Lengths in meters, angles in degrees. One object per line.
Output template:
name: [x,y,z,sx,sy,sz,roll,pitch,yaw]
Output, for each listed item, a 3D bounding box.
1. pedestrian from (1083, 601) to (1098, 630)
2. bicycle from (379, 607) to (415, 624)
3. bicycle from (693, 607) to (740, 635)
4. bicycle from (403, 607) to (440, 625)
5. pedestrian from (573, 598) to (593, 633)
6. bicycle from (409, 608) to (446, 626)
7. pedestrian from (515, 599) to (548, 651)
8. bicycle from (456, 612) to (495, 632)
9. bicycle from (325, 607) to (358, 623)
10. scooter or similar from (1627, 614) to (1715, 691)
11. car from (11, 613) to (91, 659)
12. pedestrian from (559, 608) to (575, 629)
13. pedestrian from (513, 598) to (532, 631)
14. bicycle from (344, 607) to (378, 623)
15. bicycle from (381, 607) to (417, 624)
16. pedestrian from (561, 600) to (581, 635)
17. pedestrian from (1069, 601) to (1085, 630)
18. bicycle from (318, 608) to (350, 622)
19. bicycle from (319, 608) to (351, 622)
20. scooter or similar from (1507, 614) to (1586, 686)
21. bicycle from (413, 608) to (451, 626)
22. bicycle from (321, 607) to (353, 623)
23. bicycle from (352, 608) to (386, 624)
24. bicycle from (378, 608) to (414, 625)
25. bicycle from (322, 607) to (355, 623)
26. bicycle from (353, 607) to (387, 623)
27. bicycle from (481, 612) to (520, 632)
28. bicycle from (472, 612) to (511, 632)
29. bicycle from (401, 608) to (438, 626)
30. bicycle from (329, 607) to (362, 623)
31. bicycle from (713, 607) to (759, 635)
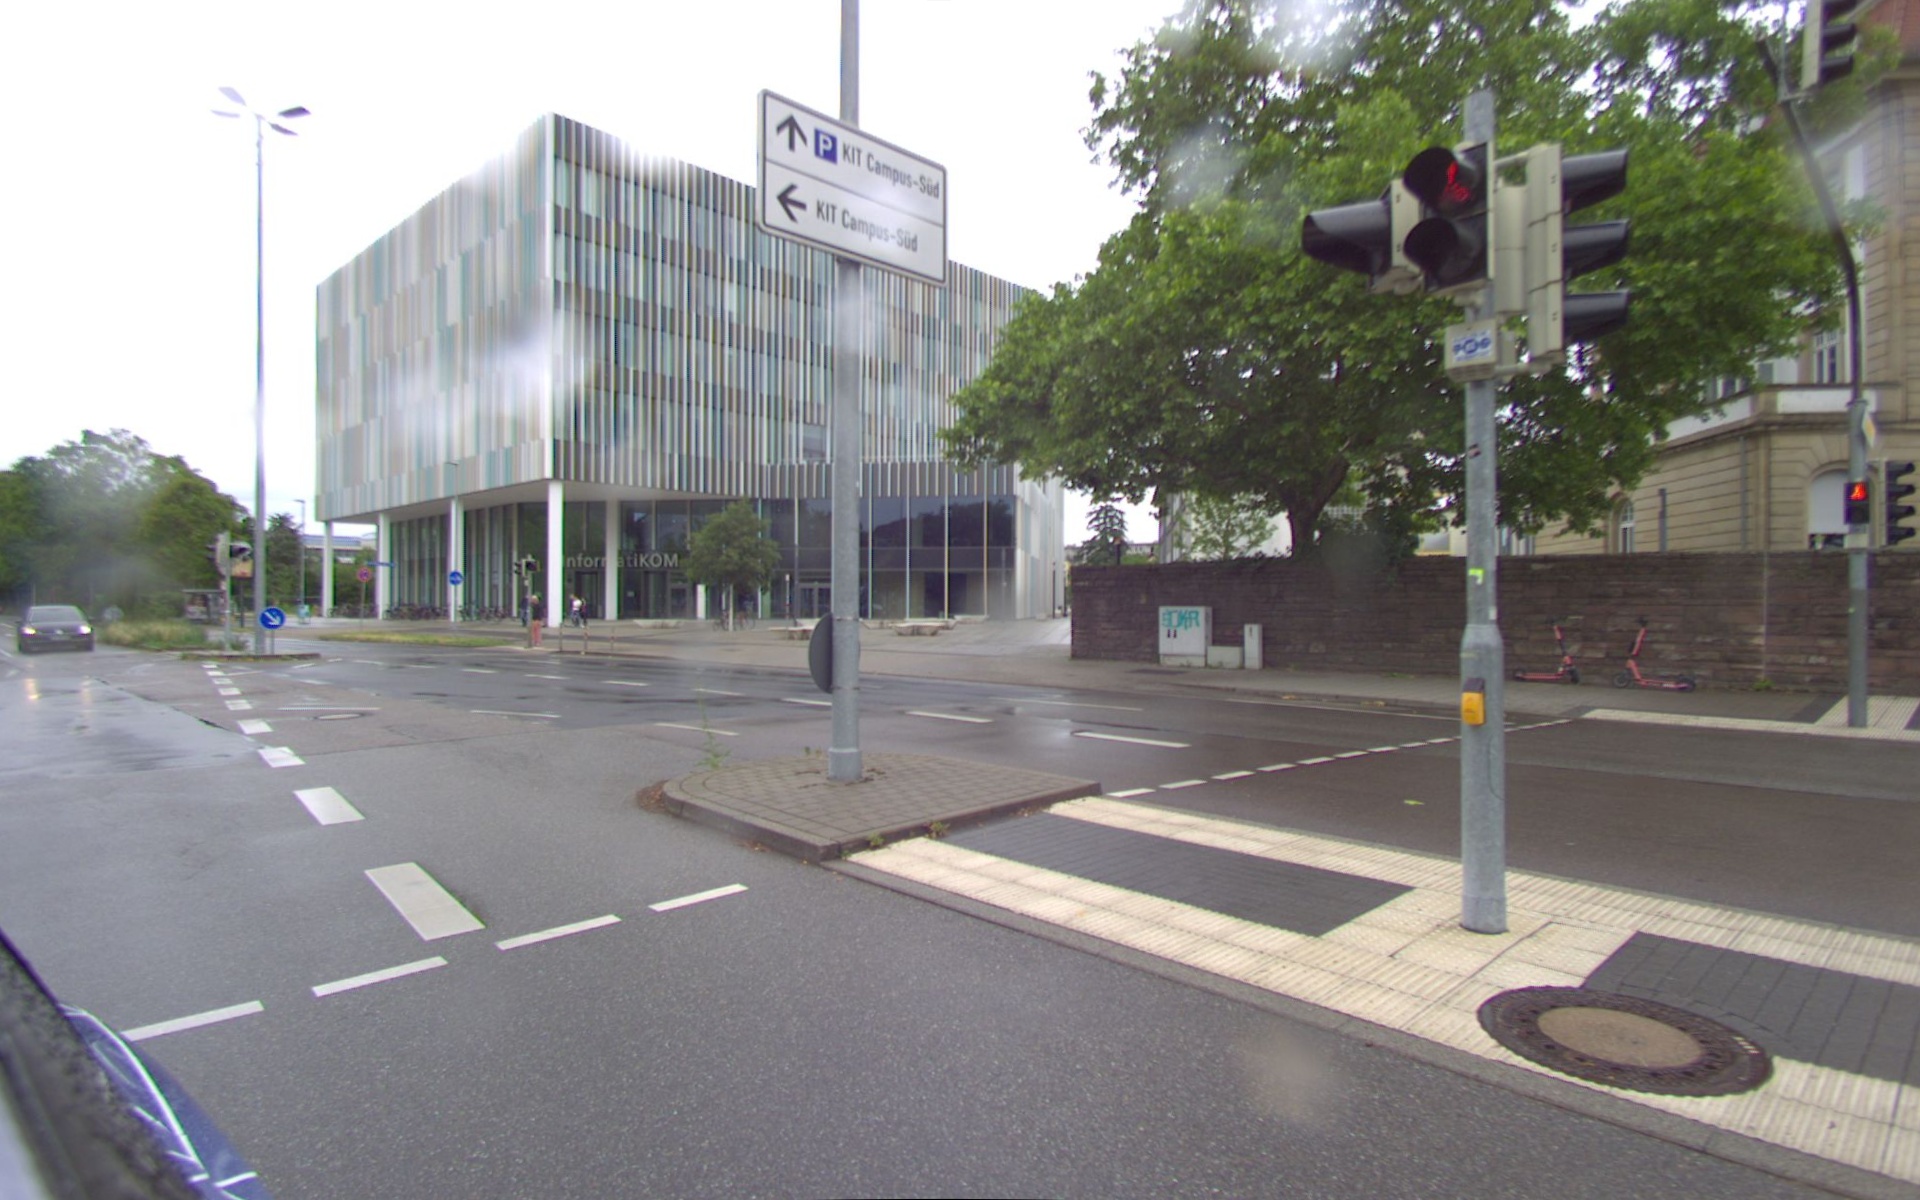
pedestrian: [9.023,1.056,69.985,0.898,2.029,0.840,0,-1,18]
bicycle: [-40.856,1.129,73.492,2.248,1.231,0.600,0,-1,-35]
bicycle: [-10.988,0.948,45.747,0.597,1.231,2.260,-1,-1,33]
bicycle: [-37.797,1.103,71.058,2.248,1.231,0.600,0,-1,-35]
pedestrian: [-19.901,0.835,53.426,0.620,1.838,0.781,0,-1,22]
bicycle: [-37.015,1.183,70.374,2.248,1.231,0.600,0,-1,-35]
pedestrian: [-15.451,0.886,36.512,0.791,1.838,0.781,0,-1,23]
bicycle: [-30.905,1.378,64.531,0.597,1.231,2.260,-1,-1,33]
bicycle: [-49.772,1.213,81.495,2.248,1.231,0.600,0,-1,-35]
scooter or similar: [11.747,0.849,16.732,1.141,1.206,0.387,0,6,40]
car: [-29.083,1.109,32.334,4.108,1.375,1.638,-1,-1,44]
pedestrian: [-22.001,1.029,56.681,0.615,1.161,0.788,0,-1,-42]
pedestrian: [-24.038,0.792,55.549,0.908,1.838,0.942,0,-1,-26]
bicycle: [-47.466,1.199,80.240,2.248,1.231,0.600,0,-1,-35]
bicycle: [-40.370,1.122,72.809,2.248,1.231,0.600,0,-1,-35]
pedestrian: [-20.788,0.940,54.066,0.620,1.838,0.781,0,-1,22]
pedestrian: [8.142,1.081,70.431,0.898,2.029,0.840,0,-1,18]
bicycle: [-52.371,1.246,84.723,2.248,1.231,0.600,0,-1,-35]
bicycle: [-52.765,1.253,85.395,2.248,1.231,0.600,0,-1,-35]
scooter or similar: [10.398,0.869,17.964,1.141,1.206,0.387,0,6,41]
bicycle: [-36.274,1.170,69.577,2.248,1.231,0.600,0,-1,-35]
bicycle: [-51.370,1.233,83.438,2.248,1.231,0.600,0,-1,-35]
bicycle: [-46.037,1.219,78.820,2.248,1.231,0.600,0,-1,-35]
bicycle: [-41.351,1.205,74.211,2.248,1.231,0.600,0,-1,-35]
bicycle: [-50.539,1.221,82.301,2.248,1.231,0.600,0,-1,-35]
bicycle: [-46.297,1.202,79.471,2.248,1.231,0.600,0,-1,-35]
bicycle: [-28.891,1.368,63.687,0.597,1.231,2.260,-1,-1,33]
bicycle: [-29.553,1.371,63.895,0.597,1.231,2.260,-1,-1,33]
bicycle: [-38.325,1.180,71.824,2.248,1.231,0.600,0,-1,-35]
bicycle: [-49.123,1.207,80.893,2.248,1.231,0.600,0,-1,-35]
bicycle: [-10.013,0.943,45.331,0.597,1.231,2.260,-1,-1,33]
